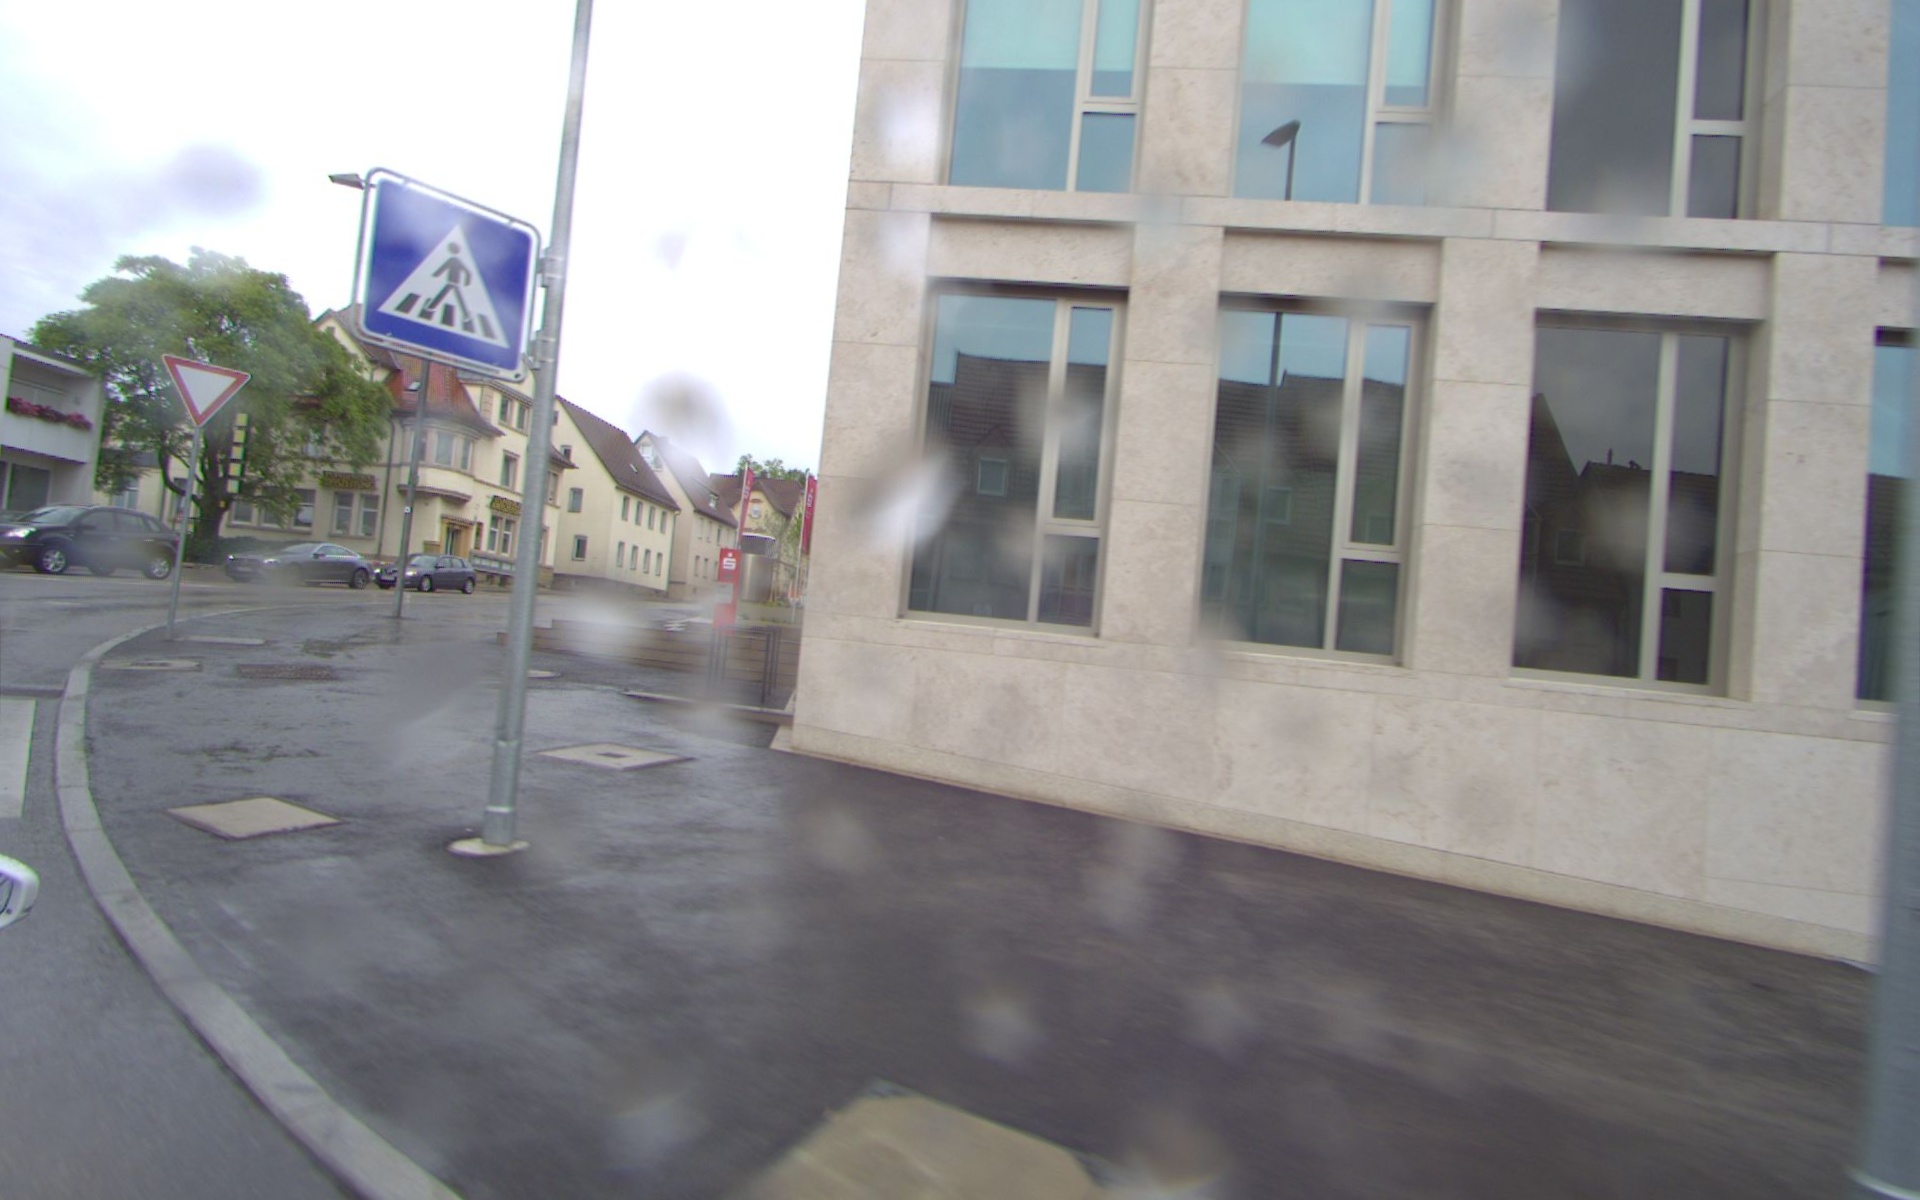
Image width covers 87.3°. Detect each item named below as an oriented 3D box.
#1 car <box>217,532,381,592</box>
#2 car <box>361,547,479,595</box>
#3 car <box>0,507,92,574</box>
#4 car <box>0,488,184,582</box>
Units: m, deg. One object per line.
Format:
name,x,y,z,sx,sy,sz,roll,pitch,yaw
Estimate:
car,-20.523,-1.133,31.484,1.744,1.470,4.542,4,-1,6
car,-19.959,-1.026,37.413,1.744,1.470,4.188,4,-1,6
car,-24.580,-1.591,25.177,1.744,1.537,4.188,4,-1,6
car,-21.168,-1.487,23.896,1.744,1.838,4.318,4,-1,6
